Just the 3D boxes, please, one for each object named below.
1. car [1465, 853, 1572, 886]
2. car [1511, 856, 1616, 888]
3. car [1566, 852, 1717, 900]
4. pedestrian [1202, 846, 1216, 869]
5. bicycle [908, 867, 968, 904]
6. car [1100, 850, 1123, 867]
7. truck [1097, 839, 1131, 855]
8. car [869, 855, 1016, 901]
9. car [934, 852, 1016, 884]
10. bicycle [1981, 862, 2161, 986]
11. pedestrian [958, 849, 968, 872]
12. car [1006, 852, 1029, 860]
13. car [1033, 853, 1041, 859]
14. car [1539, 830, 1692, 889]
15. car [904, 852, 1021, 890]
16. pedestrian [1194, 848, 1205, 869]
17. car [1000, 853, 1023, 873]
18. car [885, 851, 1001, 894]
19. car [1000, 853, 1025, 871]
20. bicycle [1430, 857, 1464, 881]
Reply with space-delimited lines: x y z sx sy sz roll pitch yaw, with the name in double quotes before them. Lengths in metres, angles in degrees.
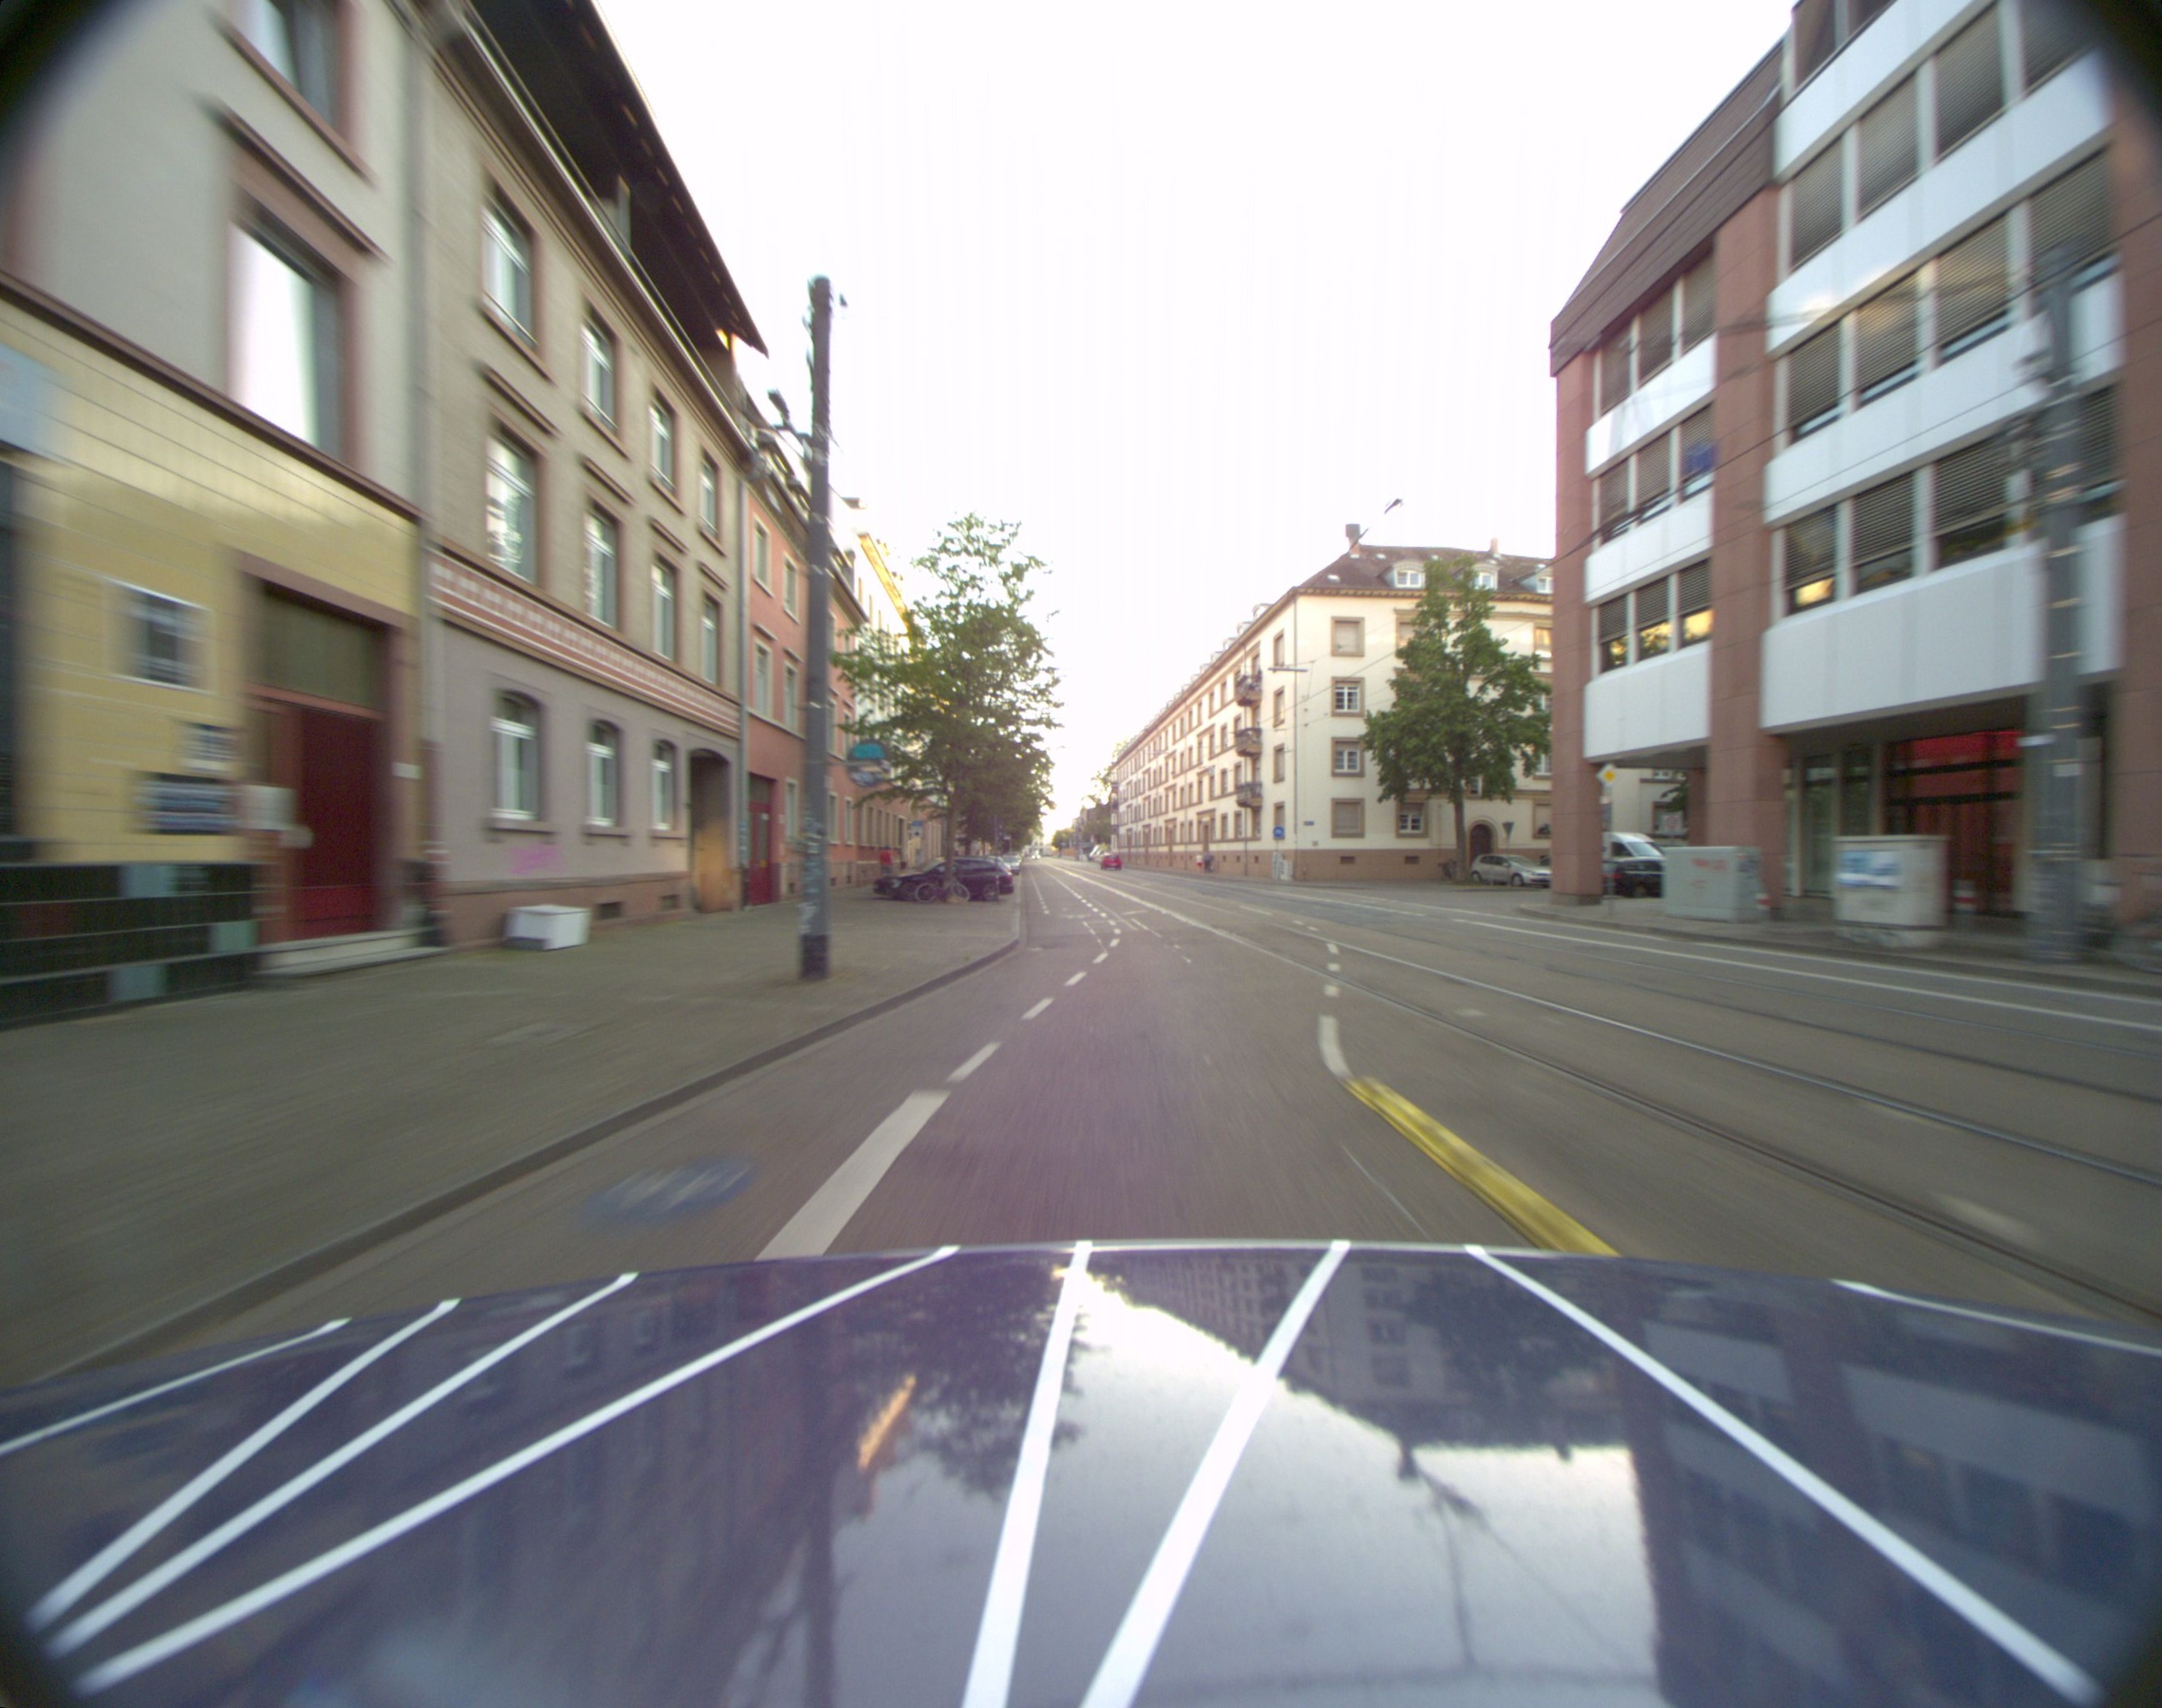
"car" 20.150 0.672 35.212 2.001 1.414 4.174 0 0 -12
"car" 22.849 0.821 36.155 1.796 1.414 4.174 0 0 -12
"car" 19.003 0.730 25.841 4.001 1.496 1.921 0 2 -11
"pedestrian" 9.551 0.280 56.624 0.798 1.692 0.981 0 1 -6
"bicycle" -4.430 0.971 23.645 1.695 1.095 0.927 2 0 -5
"car" 2.909 0.411 73.271 1.564 1.549 3.752 1 0 -7
"truck" 7.379 -1.649 169.333 7.080 3.408 2.564 -1 0 -8
"car" -4.712 0.823 25.986 4.627 1.448 1.706 2 0 -29
"car" -5.217 0.670 37.479 3.572 1.507 1.739 1 0 -29
"bicycle" 12.500 0.791 9.205 0.610 1.369 2.259 0 0 4
"pedestrian" -9.184 0.483 59.159 0.682 1.806 0.600 0 1 -4
"car" -13.829 0.422 165.326 4.645 1.508 1.806 1 -1 -31
"car" -12.055 0.504 208.964 1.999 1.674 3.998 -1 0 -4
"car" 25.303 0.230 36.365 2.098 2.574 6.124 0 0 -13
"car" -5.041 0.709 32.376 4.465 1.507 2.059 1 0 -27
"pedestrian" 8.837 0.331 56.640 0.592 1.600 0.810 0 1 -6
"car" -5.232 0.652 57.595 1.624 1.373 3.774 2 0 -4
"car" -5.306 0.705 29.225 4.006 1.483 1.826 1 2 -29
"car" -5.688 0.610 63.293 1.785 1.373 4.689 2 0 -2
"bicycle" 19.094 0.767 39.595 1.686 1.206 0.603 0 1 -22
